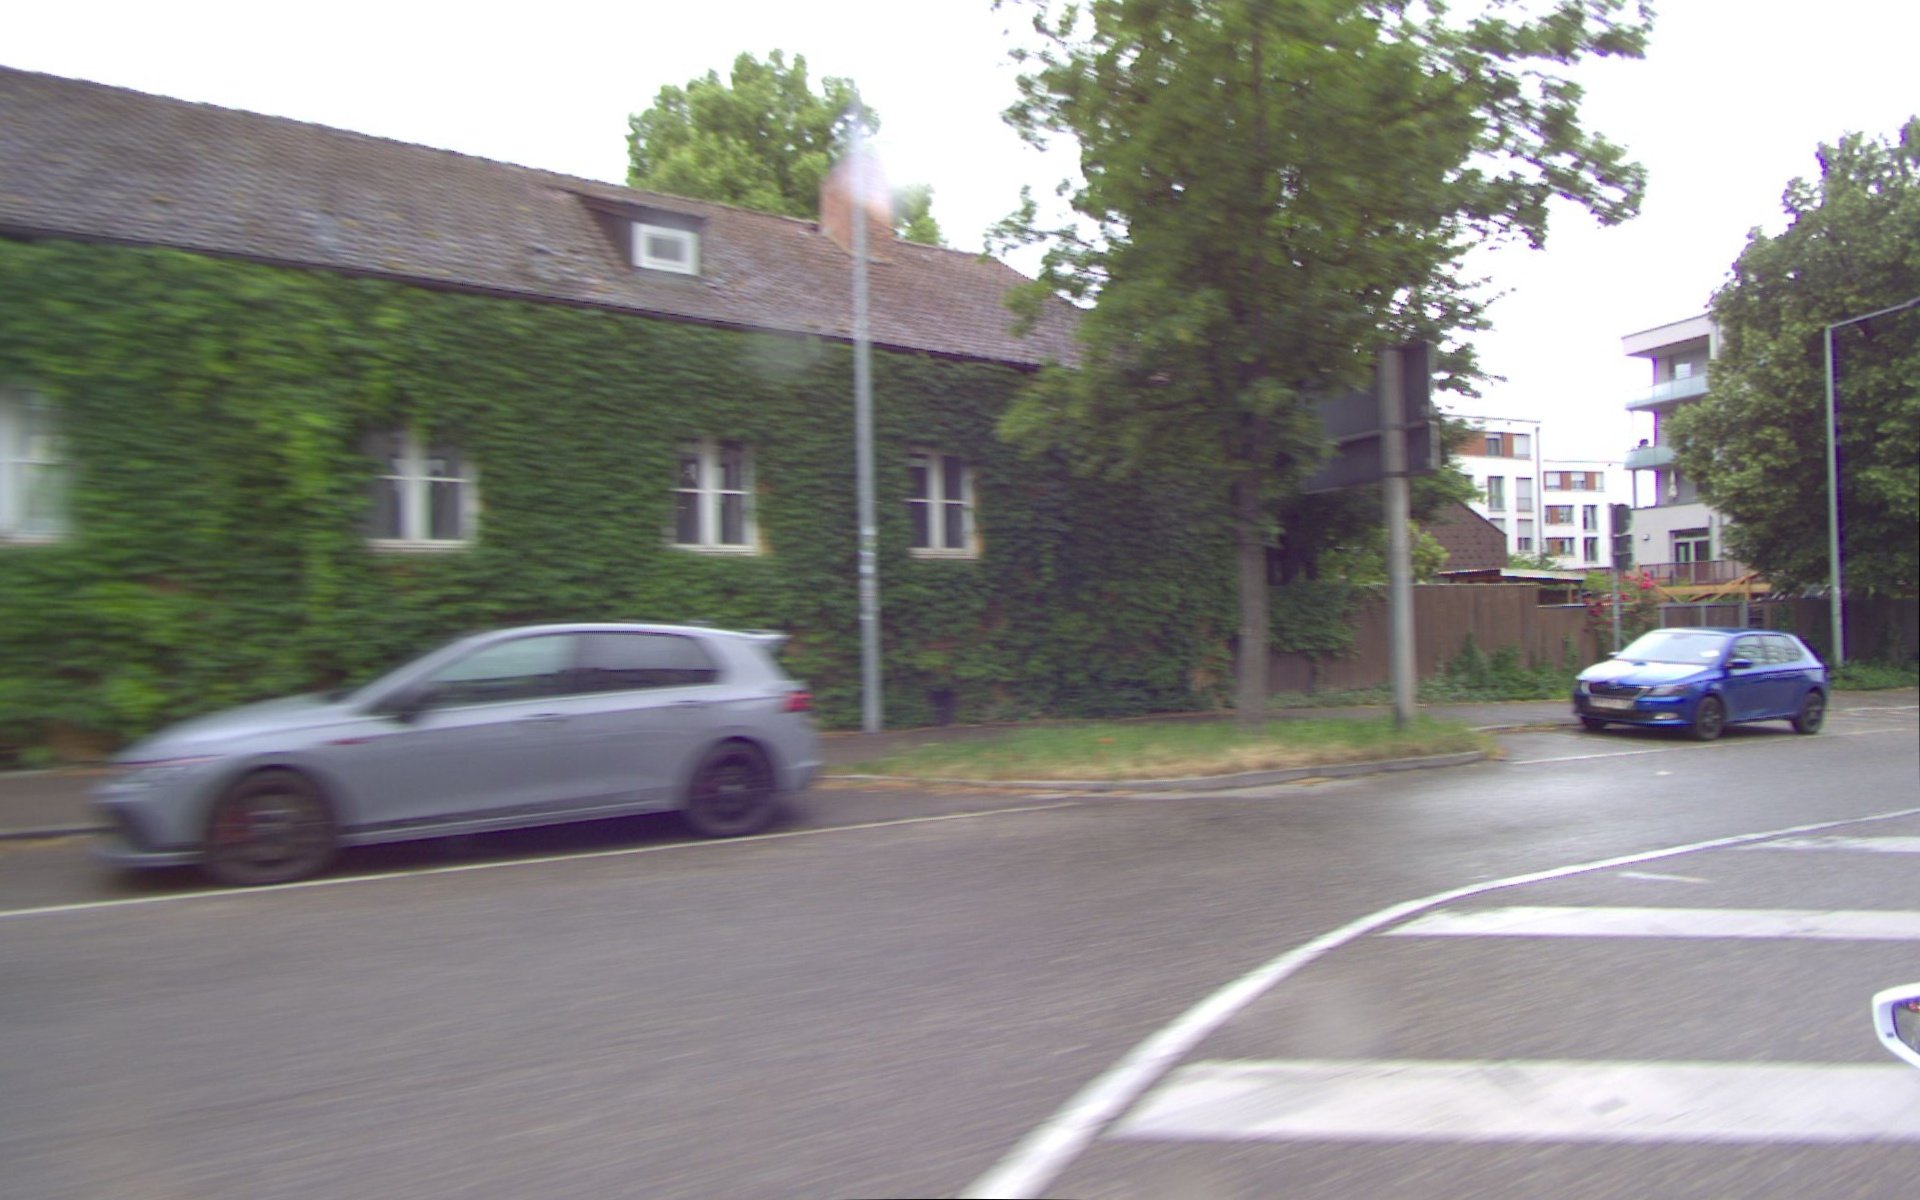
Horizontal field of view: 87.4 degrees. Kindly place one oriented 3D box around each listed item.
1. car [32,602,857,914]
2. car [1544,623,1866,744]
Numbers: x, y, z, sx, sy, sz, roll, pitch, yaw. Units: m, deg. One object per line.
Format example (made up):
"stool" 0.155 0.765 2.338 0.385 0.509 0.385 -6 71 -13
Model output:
"car" -3.114 0.839 6.890 4.369 1.532 1.985 2 -1 -29
"car" 10.621 1.111 14.322 4.129 1.489 1.988 1 -1 -25
